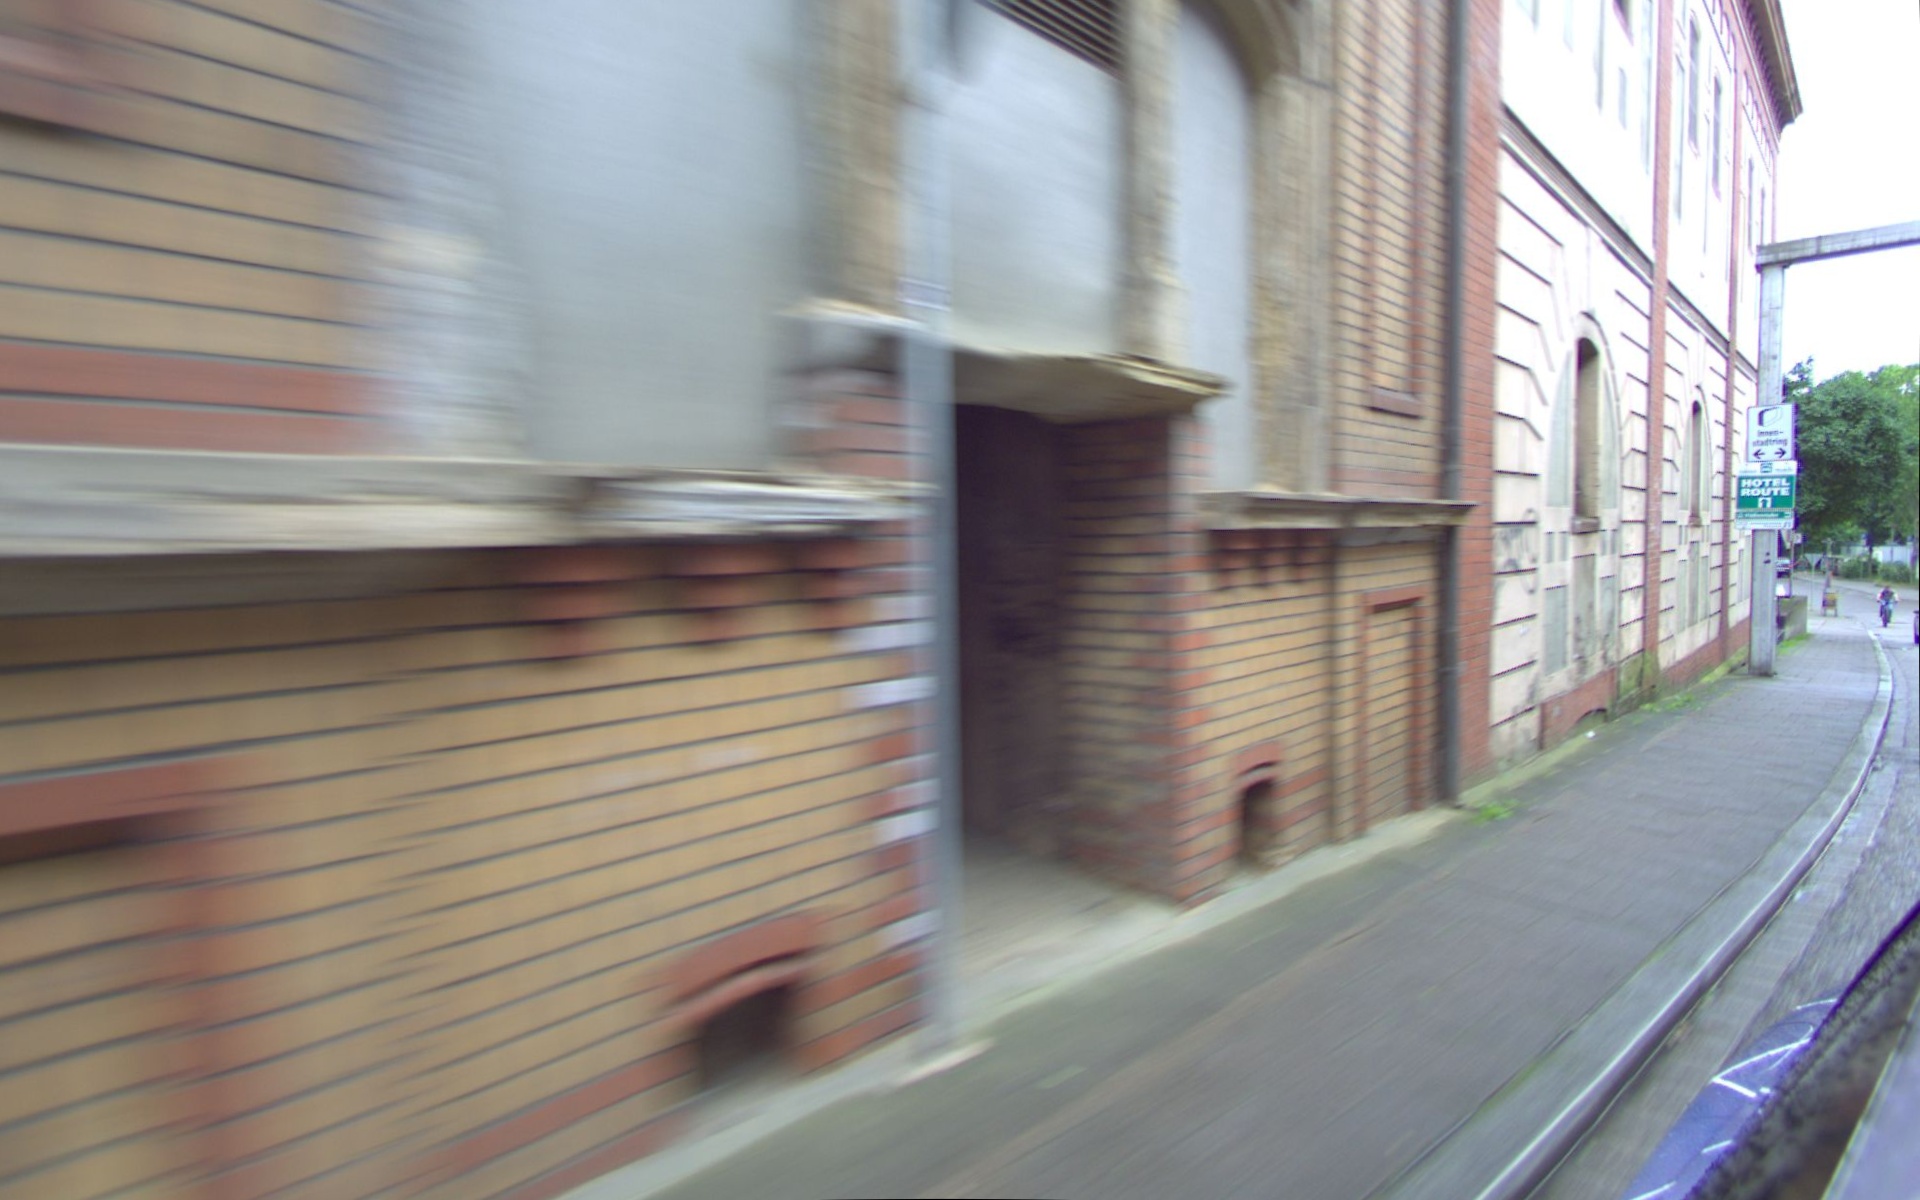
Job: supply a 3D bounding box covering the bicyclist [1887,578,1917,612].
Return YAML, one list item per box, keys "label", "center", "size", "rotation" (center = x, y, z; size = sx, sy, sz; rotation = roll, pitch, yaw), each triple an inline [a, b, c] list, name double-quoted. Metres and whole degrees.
- label: "bicyclist"
  center: [42.958, -0.233, 46.158]
  size: [0.952, 1.508, 0.887]
  rotation: [-1, 2, -42]

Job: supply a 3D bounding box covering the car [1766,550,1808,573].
- label: "car"
  center: [68.322, -3.196, 83.670]
  size: [1.891, 1.670, 3.964]
  rotation: [1, 5, 28]

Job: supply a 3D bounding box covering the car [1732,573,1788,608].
- label: "car"
  center: [44.029, -0.569, 55.802]
  size: [1.918, 1.732, 4.442]
  rotation: [2, 4, 32]

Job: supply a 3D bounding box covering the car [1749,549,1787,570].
- label: "car"
  center: [71.328, -3.560, 89.402]
  size: [1.891, 1.670, 3.964]
  rotation: [1, 5, 28]

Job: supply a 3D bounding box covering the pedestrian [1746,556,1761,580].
- label: "pedestrian"
  center: [53.850, -2.198, 68.673]
  size: [0.698, 1.585, 0.616]
  rotation: [0, 5, 31]

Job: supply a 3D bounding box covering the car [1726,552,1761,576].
- label: "car"
  center: [74.291, -3.404, 95.995]
  size: [1.891, 2.099, 3.964]
  rotation: [1, 5, 28]

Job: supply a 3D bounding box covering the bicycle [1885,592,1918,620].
- label: "bicycle"
  center: [43.062, 0.270, 46.281]
  size: [2.097, 1.202, 0.887]
  rotation: [-1, 2, -42]

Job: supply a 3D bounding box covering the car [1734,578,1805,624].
- label: "car"
  center: [30.807, 0.037, 38.473]
  size: [1.852, 1.638, 4.840]
  rotation: [2, 1, 42]
